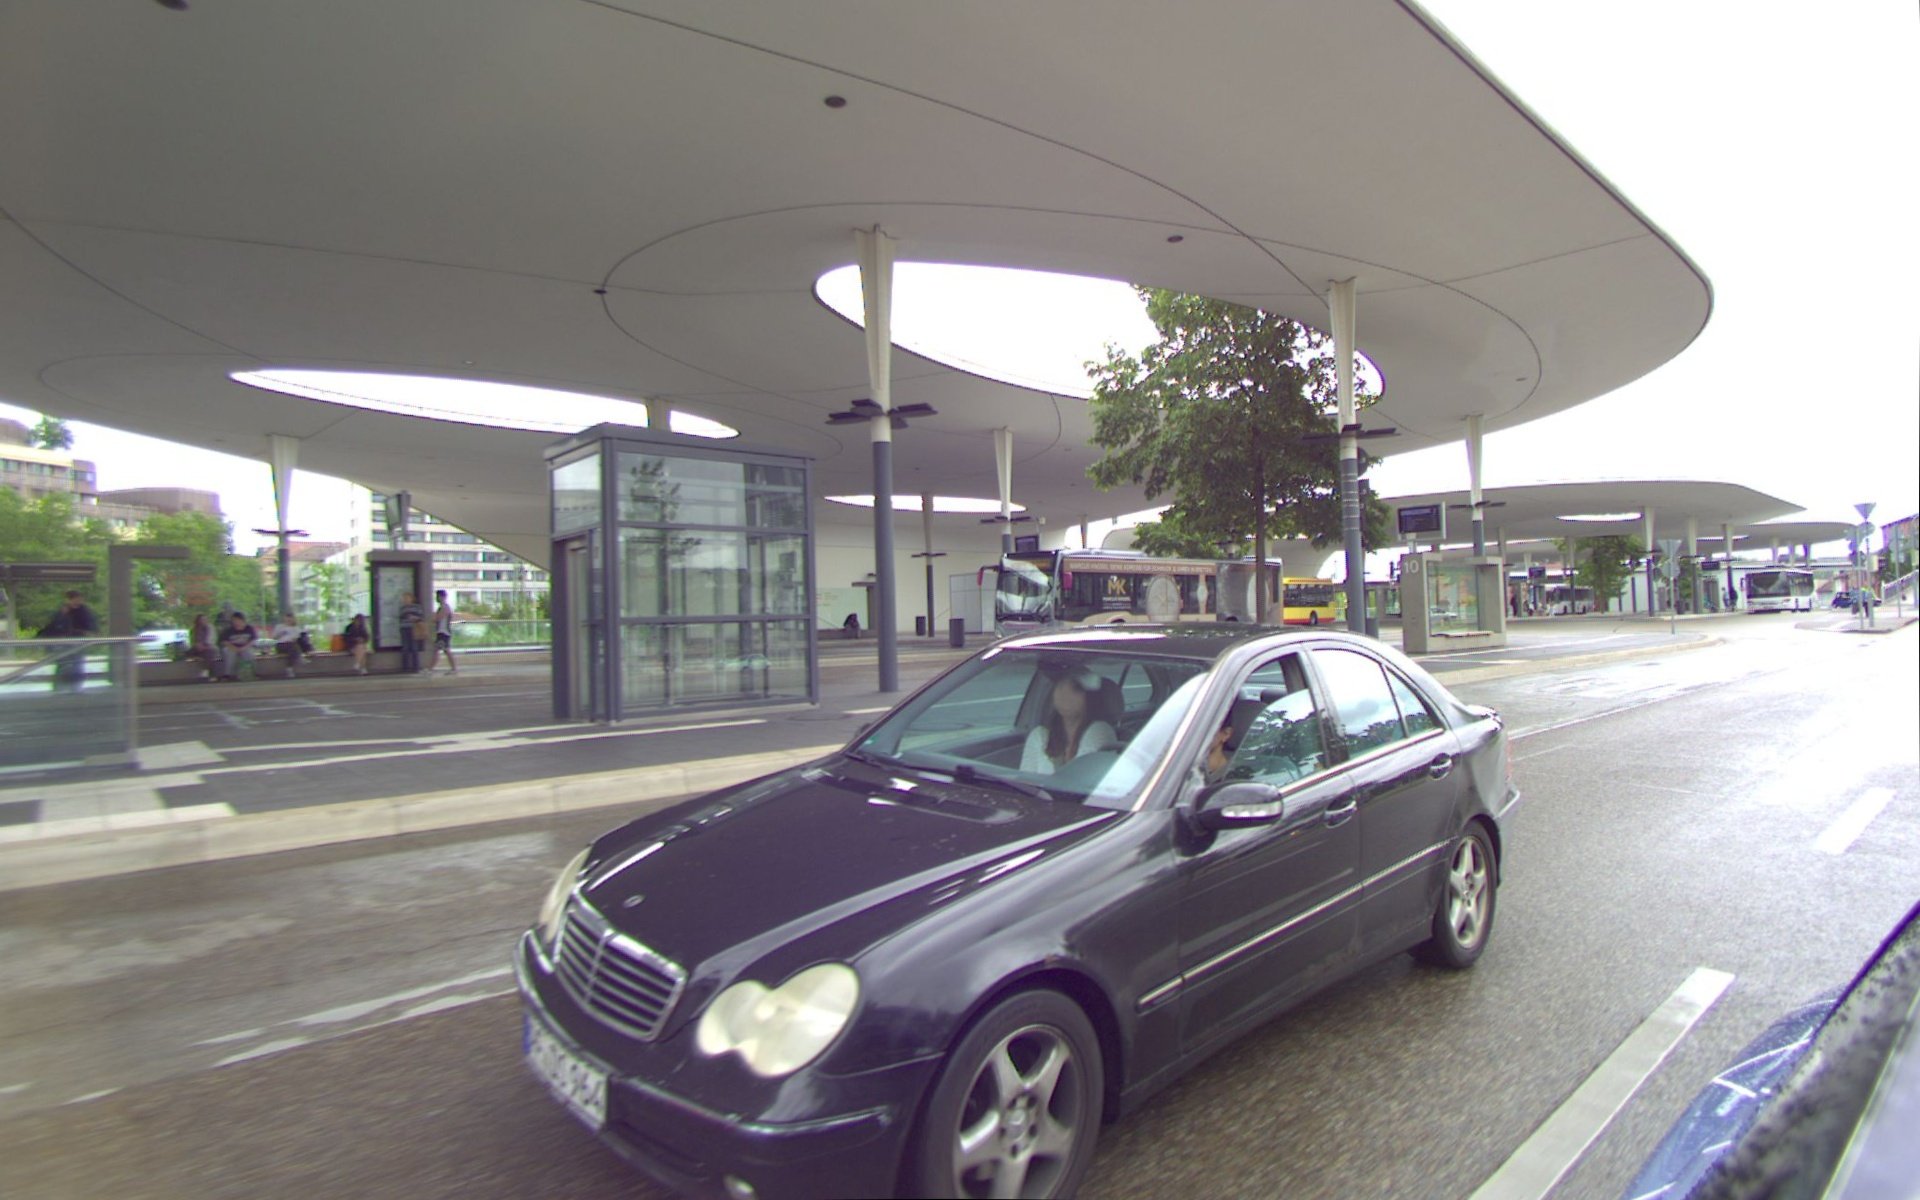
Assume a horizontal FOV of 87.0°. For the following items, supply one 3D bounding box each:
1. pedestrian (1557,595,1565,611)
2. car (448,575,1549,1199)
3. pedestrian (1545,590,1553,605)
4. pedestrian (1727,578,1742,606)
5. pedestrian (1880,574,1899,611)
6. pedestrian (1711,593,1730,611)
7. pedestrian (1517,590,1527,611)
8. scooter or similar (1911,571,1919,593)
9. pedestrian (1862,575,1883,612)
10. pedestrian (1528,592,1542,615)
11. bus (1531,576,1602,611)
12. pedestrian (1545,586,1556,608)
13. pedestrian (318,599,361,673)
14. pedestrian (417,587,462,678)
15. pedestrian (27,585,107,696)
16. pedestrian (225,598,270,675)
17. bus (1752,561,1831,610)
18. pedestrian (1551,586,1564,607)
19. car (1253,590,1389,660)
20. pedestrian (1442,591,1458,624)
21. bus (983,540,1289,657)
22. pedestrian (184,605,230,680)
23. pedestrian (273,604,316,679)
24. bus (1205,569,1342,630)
[{"bbox_3d":[45.351,0.242,76.326,0.357,1.159,0.396,-1,-1,0],"label":"pedestrian"},{"bbox_3d":[0.605,0.734,3.835,4.231,1.481,1.699,2,-1,-43],"label":"car"},{"bbox_3d":[44.587,-0.185,76.628,0.345,1.095,0.392,-1,-1,-1],"label":"pedestrian"},{"bbox_3d":[53.986,-0.556,70.540,0.636,1.911,0.586,2,-1,-32],"label":"pedestrian"},{"bbox_3d":[44.292,-0.344,48.208,0.571,1.691,0.523,-4,0,-42],"label":"pedestrian"},{"bbox_3d":[53.362,0.152,71.006,0.943,1.271,0.643,1,-1,25],"label":"pedestrian"},{"bbox_3d":[41.079,0.060,74.008,0.513,1.521,0.381,-2,-1,8],"label":"pedestrian"},{"bbox_3d":[56.663,-1.074,59.835,1.828,1.236,0.464,-1,-1,-43],"label":"scooter or similar"},{"bbox_3d":[43.925,-0.322,48.721,0.571,1.690,0.589,-6,0,-42],"label":"pedestrian"},{"bbox_3d":[42.716,0.242,75.150,0.588,1.609,0.667,-7,-2,44],"label":"pedestrian"},{"bbox_3d":[61.314,-0.703,102.105,11.936,3.299,2.791,-2,-1,-42],"label":"bus"},{"bbox_3d":[45.412,-0.250,77.837,0.547,1.675,0.570,-1,-1,-36],"label":"pedestrian"},{"bbox_3d":[-12.703,0.730,20.718,0.625,1.462,0.560,-1,-1,-45],"label":"pedestrian"},{"bbox_3d":[-10.048,0.622,19.542,0.559,1.714,0.604,-3,-2,42],"label":"pedestrian"},{"bbox_3d":[-14.671,0.651,16.631,0.706,1.728,0.759,4,1,31],"label":"pedestrian"},{"bbox_3d":[-13.863,0.700,19.688,0.604,1.462,0.560,-1,-1,-45],"label":"pedestrian"},{"bbox_3d":[61.922,-1.089,75.230,12.214,3.403,2.849,-1,2,-43],"label":"bus"},{"bbox_3d":[46.264,-0.272,78.426,0.632,1.675,0.638,-1,-1,8],"label":"pedestrian"},{"bbox_3d":[8.227,0.538,22.973,3.184,1.472,1.648,0,-1,-44],"label":"car"},{"bbox_3d":[25.816,0.365,53.343,0.711,1.705,1.014,0,1,22],"label":"pedestrian"},{"bbox_3d":[5.954,-0.109,31.723,11.882,3.082,2.725,-1,0,-42],"label":"bus"},{"bbox_3d":[-14.340,0.796,19.270,0.604,1.378,0.560,-1,-1,-45],"label":"pedestrian"},{"bbox_3d":[-13.337,0.815,20.282,0.604,1.462,0.560,-1,-1,-45],"label":"pedestrian"},{"bbox_3d":[20.191,-0.143,64.508,11.944,3.298,2.790,-3,1,-44],"label":"bus"}]
